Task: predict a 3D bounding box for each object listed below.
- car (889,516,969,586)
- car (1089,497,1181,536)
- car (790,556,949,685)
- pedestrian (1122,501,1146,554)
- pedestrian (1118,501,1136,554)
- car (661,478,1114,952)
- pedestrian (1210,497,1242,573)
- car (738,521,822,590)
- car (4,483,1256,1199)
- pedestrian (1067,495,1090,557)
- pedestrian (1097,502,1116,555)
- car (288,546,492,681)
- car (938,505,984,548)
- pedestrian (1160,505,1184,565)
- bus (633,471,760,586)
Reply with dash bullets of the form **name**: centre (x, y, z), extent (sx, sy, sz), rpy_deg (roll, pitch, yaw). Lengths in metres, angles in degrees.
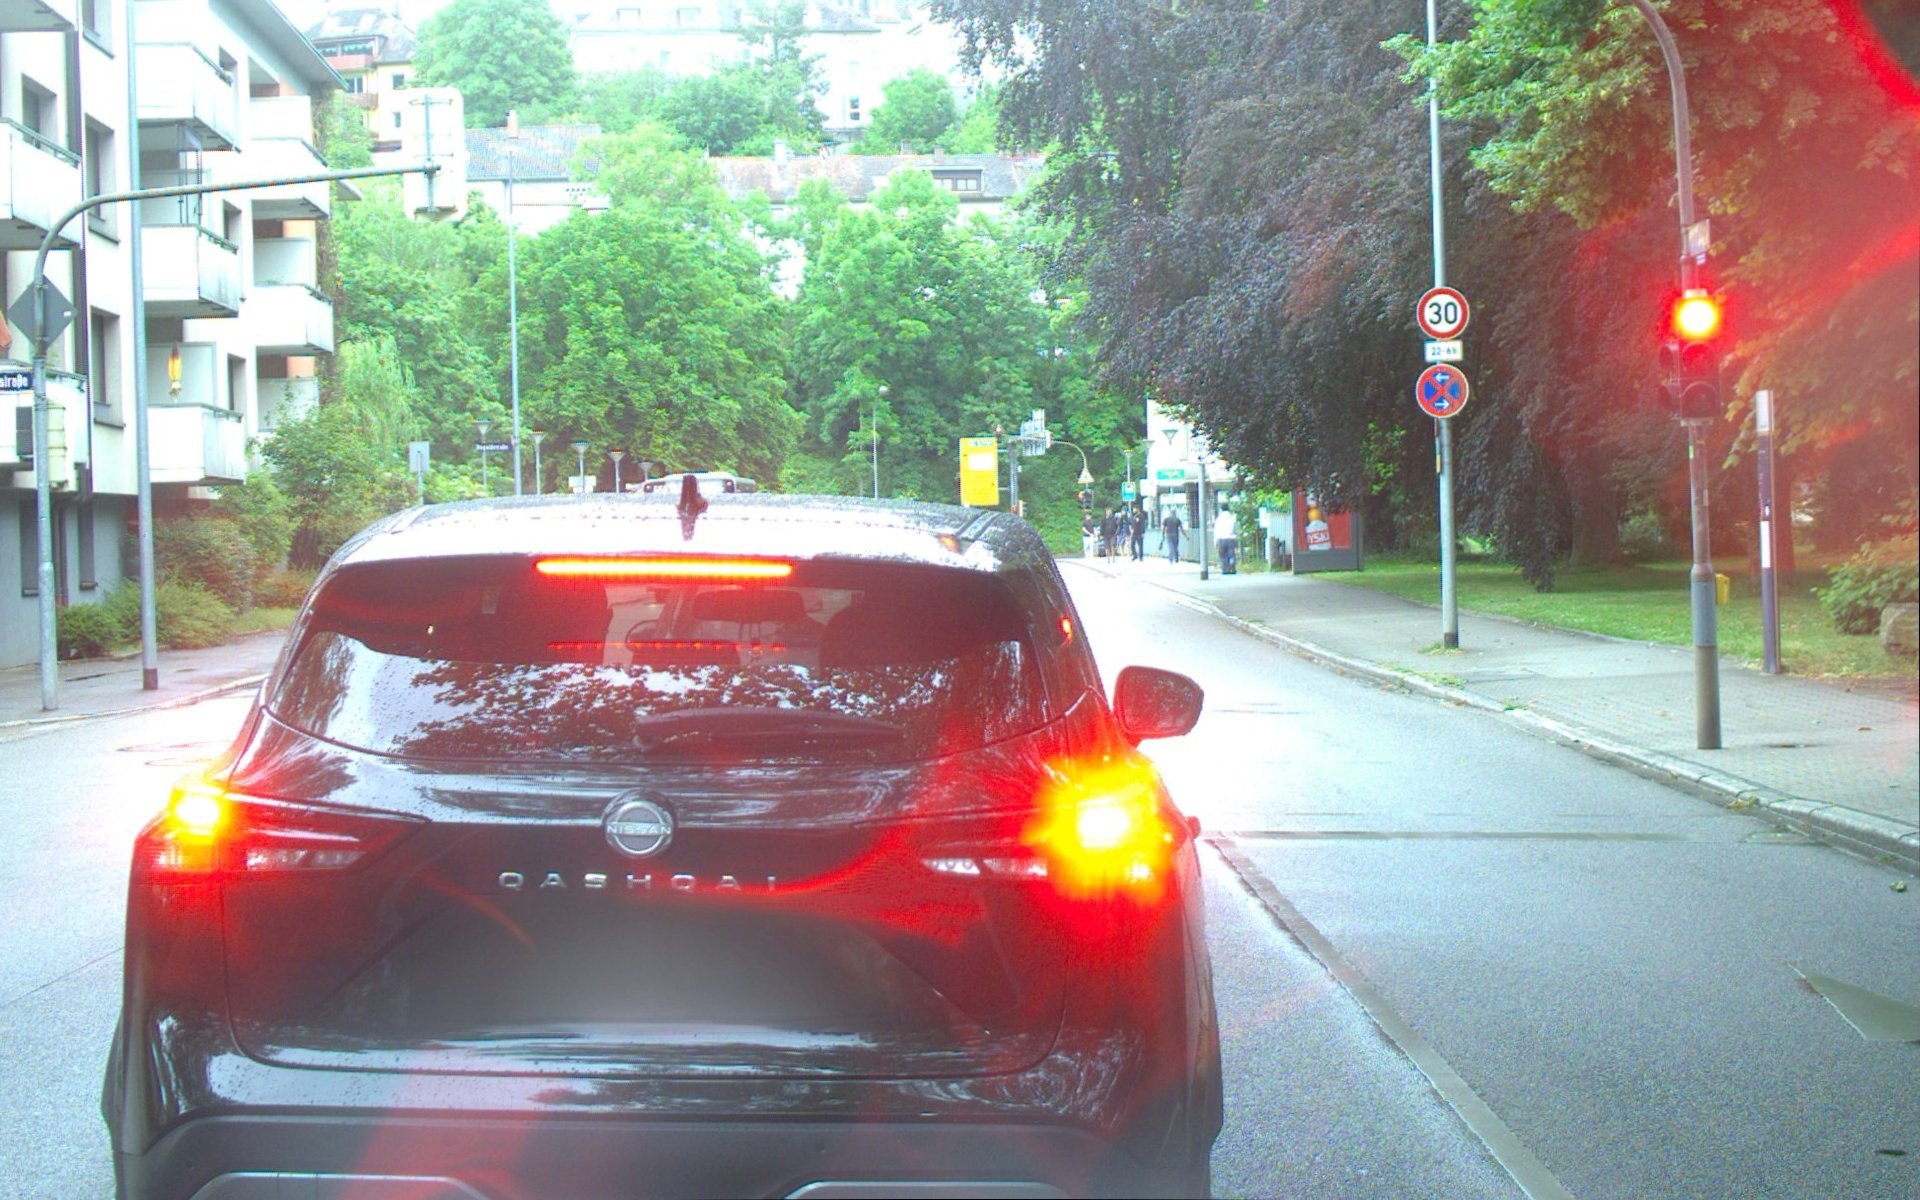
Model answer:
- **car**: centre (-0.653, -1.057, 73.542), extent (1.624, 1.410, 3.455), rpy_deg (-2, 1, 0)
- **car**: centre (8.323, -3.960, 163.620), extent (3.986, 1.678, 2.001), rpy_deg (-2, 1, -10)
- **car**: centre (-1.089, 0.205, 41.123), extent (1.808, 1.412, 4.031), rpy_deg (0, 1, -2)
- **pedestrian**: centre (5.533, -2.308, 109.475), extent (0.699, 1.645, 0.628), rpy_deg (1, 0, 0)
- **pedestrian**: centre (5.261, -2.283, 108.387), extent (0.514, 1.650, 0.550), rpy_deg (1, 0, -1)
- **car**: centre (-0.235, 0.390, 14.663), extent (1.622, 1.703, 3.771), rpy_deg (-2, 1, 1)
- **pedestrian**: centre (6.357, -1.554, 82.213), extent (0.618, 1.773, 0.778), rpy_deg (-2, 1, -1)
- **car**: centre (-3.917, -0.995, 75.224), extent (1.624, 1.410, 3.455), rpy_deg (-2, 1, 0)
- **car**: centre (-0.506, 0.614, 7.003), extent (1.806, 1.584, 4.000), rpy_deg (1, 1, -1)
- **pedestrian**: centre (4.151, -2.596, 120.547), extent (0.768, 2.176, 0.711), rpy_deg (1, 0, 3)
- **pedestrian**: centre (4.659, -2.276, 109.489), extent (0.544, 1.645, 0.490), rpy_deg (1, 0, 0)
- **car**: centre (-6.731, 0.119, 40.966), extent (1.808, 1.412, 4.031), rpy_deg (-3, 1, -2)
- **car**: centre (0.032, -2.905, 136.330), extent (1.750, 1.628, 3.635), rpy_deg (-2, 1, 0)
- **pedestrian**: centre (6.303, -1.933, 102.102), extent (0.618, 1.773, 0.551), rpy_deg (-2, 1, -1)
- **bus**: centre (-7.442, -1.957, 98.555), extent (2.766, 2.964, 11.781), rpy_deg (-2, 0, -1)
